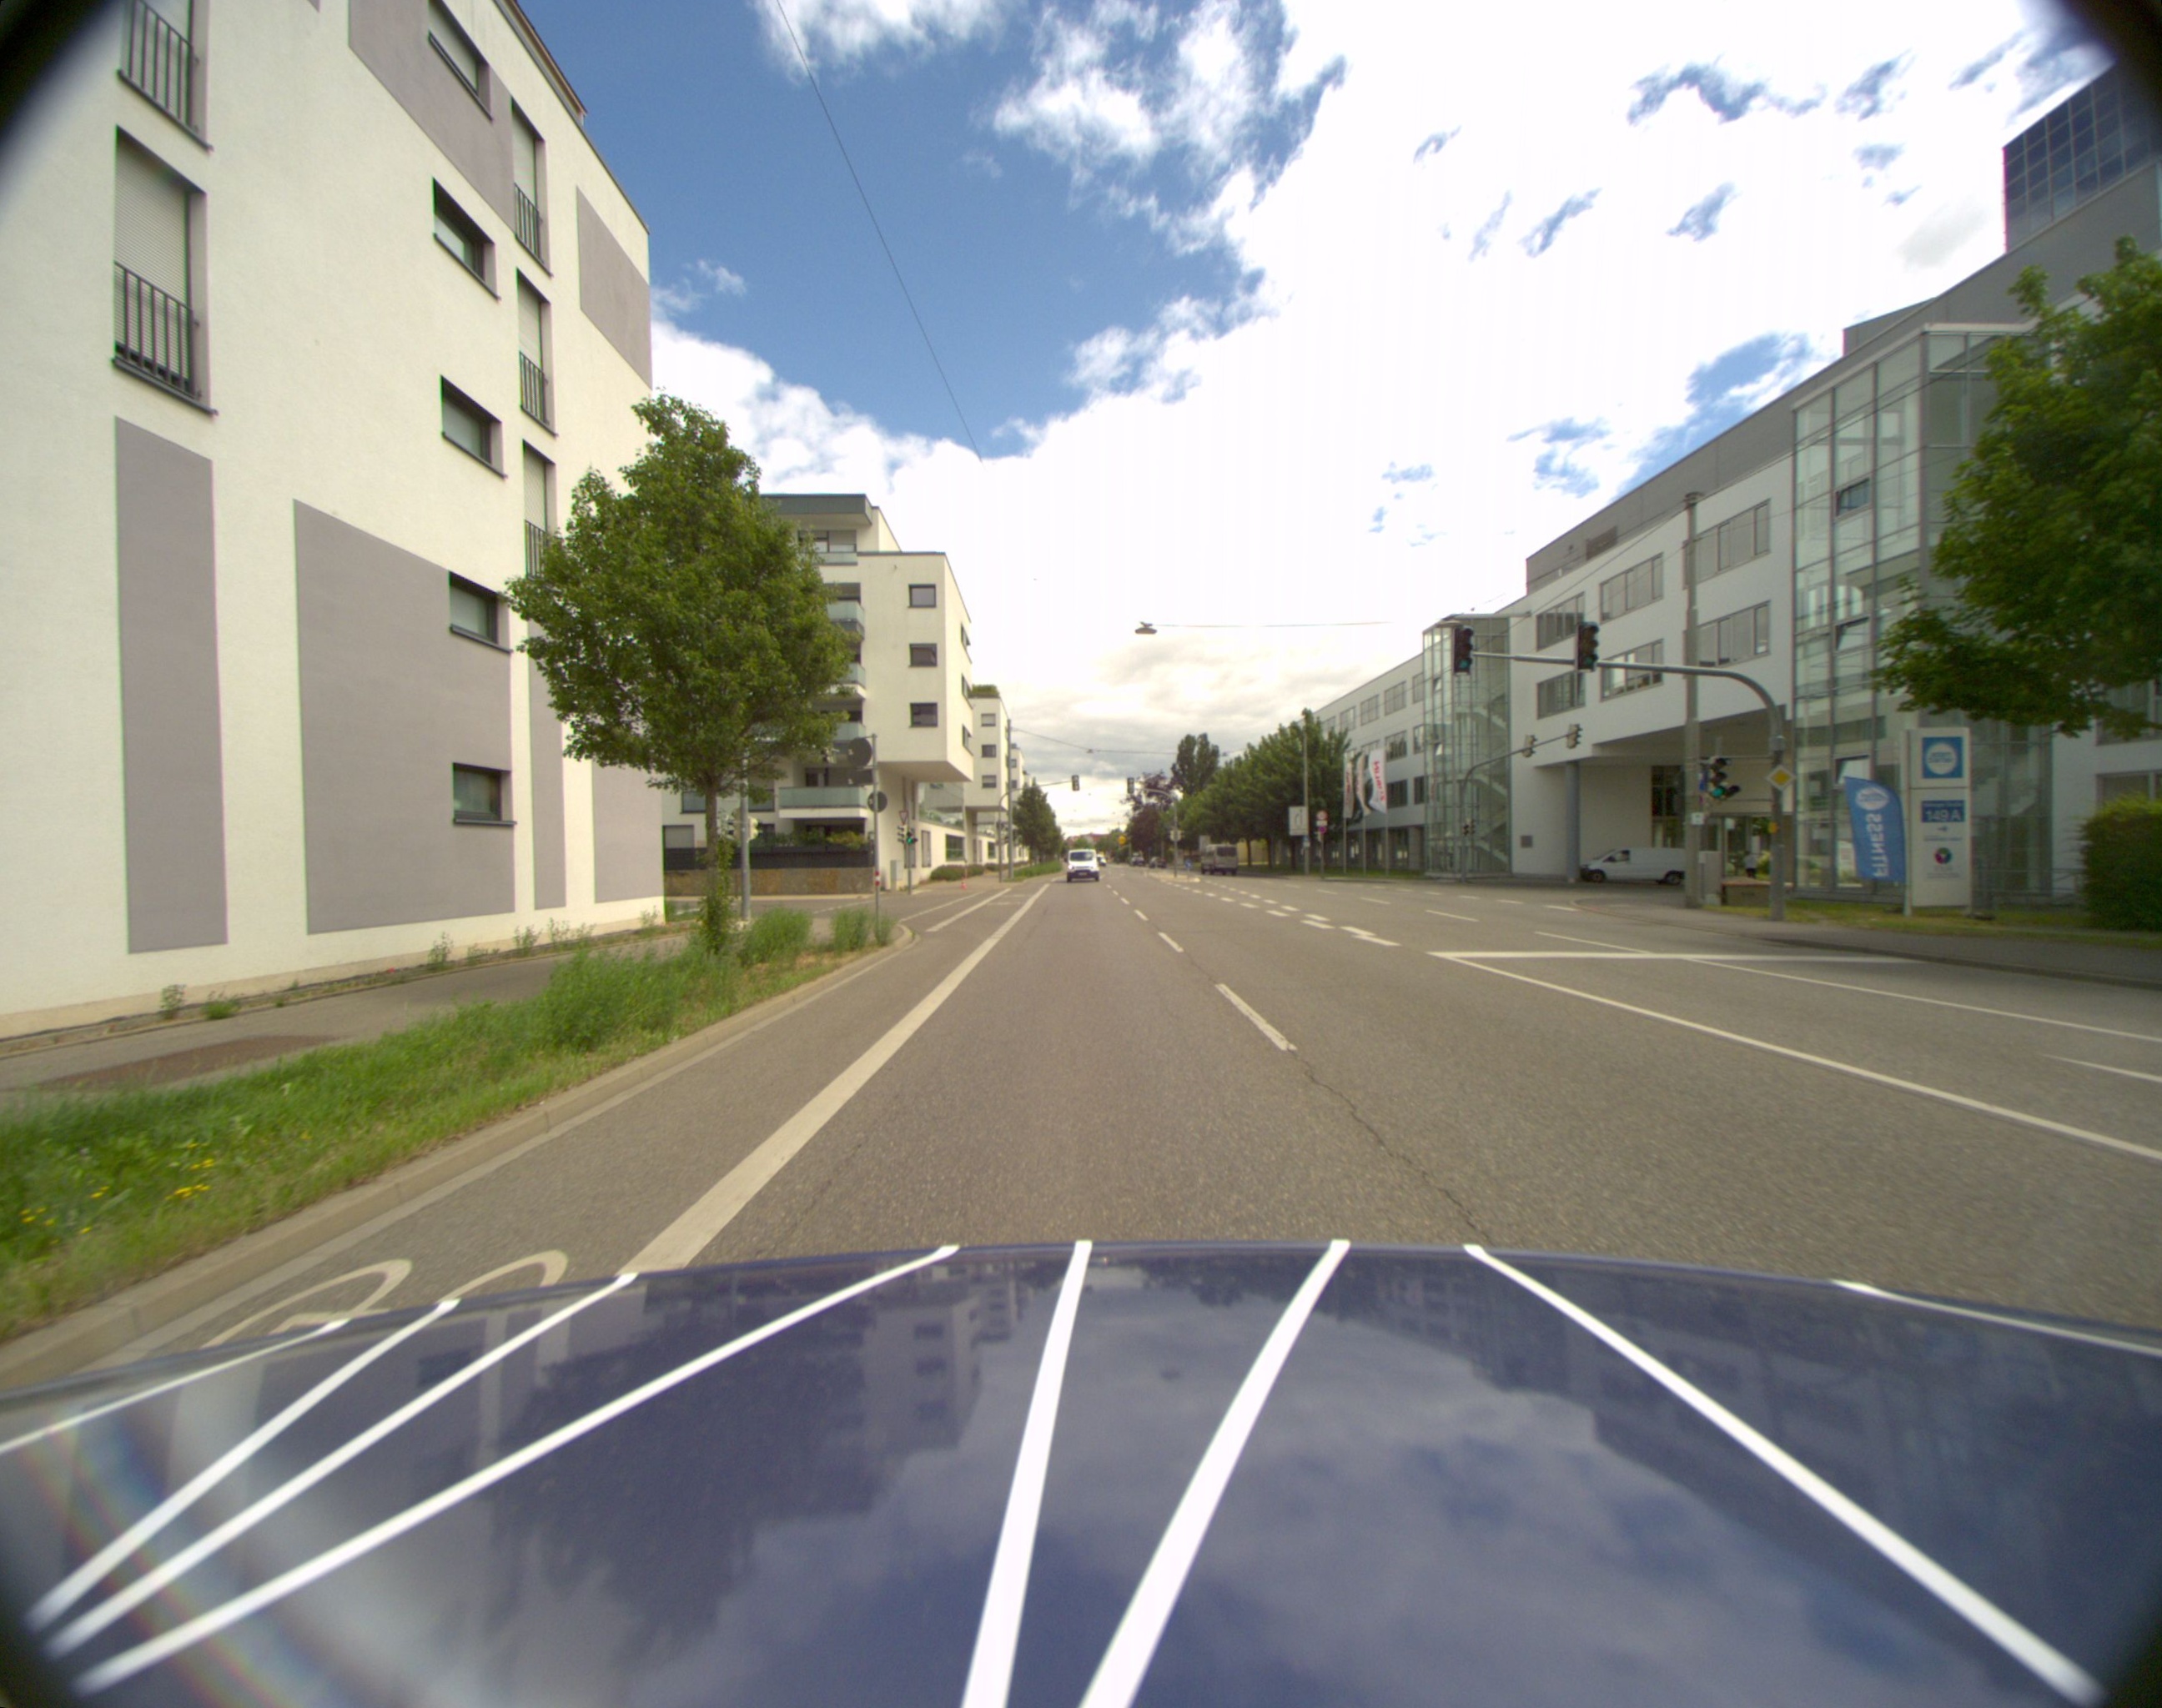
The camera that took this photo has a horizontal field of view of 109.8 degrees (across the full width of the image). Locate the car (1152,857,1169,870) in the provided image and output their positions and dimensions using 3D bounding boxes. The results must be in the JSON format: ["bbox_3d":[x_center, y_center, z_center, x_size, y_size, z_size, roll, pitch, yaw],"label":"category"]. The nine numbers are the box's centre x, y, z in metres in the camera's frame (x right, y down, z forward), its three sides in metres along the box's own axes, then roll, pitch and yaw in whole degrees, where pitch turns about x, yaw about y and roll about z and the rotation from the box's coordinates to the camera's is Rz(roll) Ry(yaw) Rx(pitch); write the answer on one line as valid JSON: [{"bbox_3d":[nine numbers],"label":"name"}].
[{"bbox_3d":[10.430,1.214,99.887,1.889,1.543,4.540,0,1,3],"label":"car"}]

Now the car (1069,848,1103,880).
[{"bbox_3d":[0.262,0.583,48.980,1.999,1.905,3.998,-2,1,-2],"label":"car"}]

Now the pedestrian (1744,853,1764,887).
[{"bbox_3d":[33.662,0.786,38.023,0.512,1.652,0.486,-3,1,-4],"label":"pedestrian"}]

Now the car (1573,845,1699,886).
[{"bbox_3d":[28.487,0.545,39.221,4.822,1.858,2.087,2,3,23],"label":"car"}]

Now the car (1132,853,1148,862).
[{"bbox_3d":[9.284,0.547,119.895,2.029,1.437,5.048,1,1,-2],"label":"car"}]

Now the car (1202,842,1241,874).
[{"bbox_3d":[11.333,0.287,61.837,2.148,2.457,6.073,1,0,1],"label":"car"}]
